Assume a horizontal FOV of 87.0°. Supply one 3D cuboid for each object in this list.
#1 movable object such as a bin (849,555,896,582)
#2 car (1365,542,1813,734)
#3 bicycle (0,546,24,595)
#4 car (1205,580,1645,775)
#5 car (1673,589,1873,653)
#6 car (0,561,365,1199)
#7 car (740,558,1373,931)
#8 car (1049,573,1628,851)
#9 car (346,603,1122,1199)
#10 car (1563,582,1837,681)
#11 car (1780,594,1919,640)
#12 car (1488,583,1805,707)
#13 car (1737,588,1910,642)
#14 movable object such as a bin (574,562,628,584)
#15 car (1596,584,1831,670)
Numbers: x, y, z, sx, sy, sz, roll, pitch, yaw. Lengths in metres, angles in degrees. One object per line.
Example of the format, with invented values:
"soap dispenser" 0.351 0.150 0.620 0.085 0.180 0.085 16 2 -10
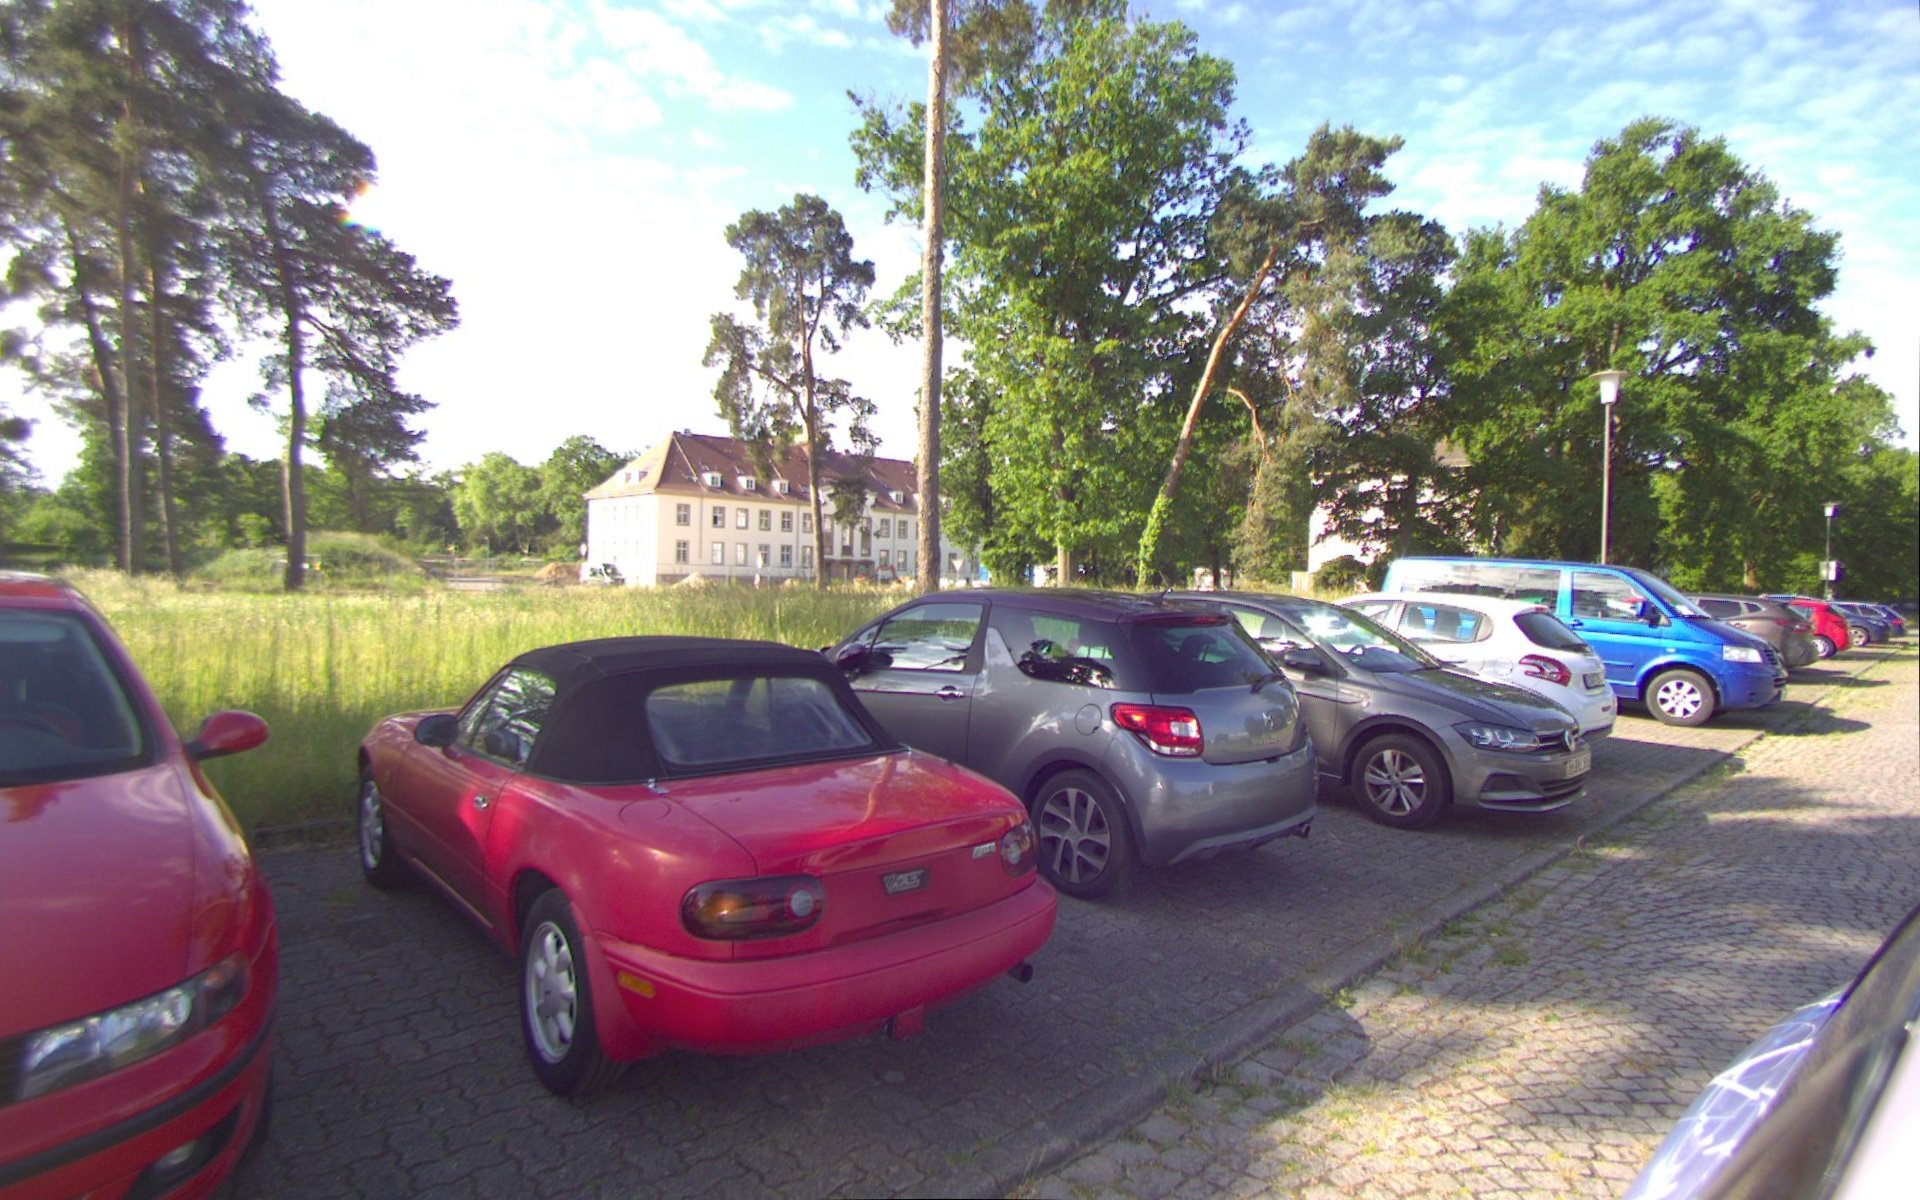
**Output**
"movable object such as a bin" -9.926 -3.620 114.991 4.979 2.937 2.180 0 2 -37
"car" 8.306 0.330 13.753 1.966 2.038 4.761 0 4 -43
"bicycle" -40.289 -1.195 41.209 0.950 2.038 3.085 2 3 41
"car" 4.482 0.604 10.132 1.607 1.510 3.649 0 2 -43
"car" 21.616 0.499 27.026 1.515 1.514 3.990 0 2 -44
"car" -3.141 0.655 2.864 1.628 1.466 3.983 0 3 -44
"car" 0.348 0.562 6.221 1.639 1.472 3.668 0 4 -43
"car" 2.679 0.607 7.816 1.727 1.468 3.788 0 3 -42
"car" -1.201 0.699 4.076 1.511 1.258 3.465 0 2 -43
"car" 14.438 0.532 19.902 1.757 1.631 4.110 0 2 -45
"car" 32.554 0.576 36.987 1.717 1.484 3.805 0 2 -42
"car" 10.318 0.583 15.381 3.722 1.484 1.584 5 3 44
"car" 28.937 0.457 34.008 1.624 1.618 4.266 0 2 -44
"movable object such as a bin" -34.713 -2.627 97.849 5.706 2.038 2.095 3 2 37
"car" 16.277 0.504 21.990 1.675 1.557 3.830 0 3 -43
